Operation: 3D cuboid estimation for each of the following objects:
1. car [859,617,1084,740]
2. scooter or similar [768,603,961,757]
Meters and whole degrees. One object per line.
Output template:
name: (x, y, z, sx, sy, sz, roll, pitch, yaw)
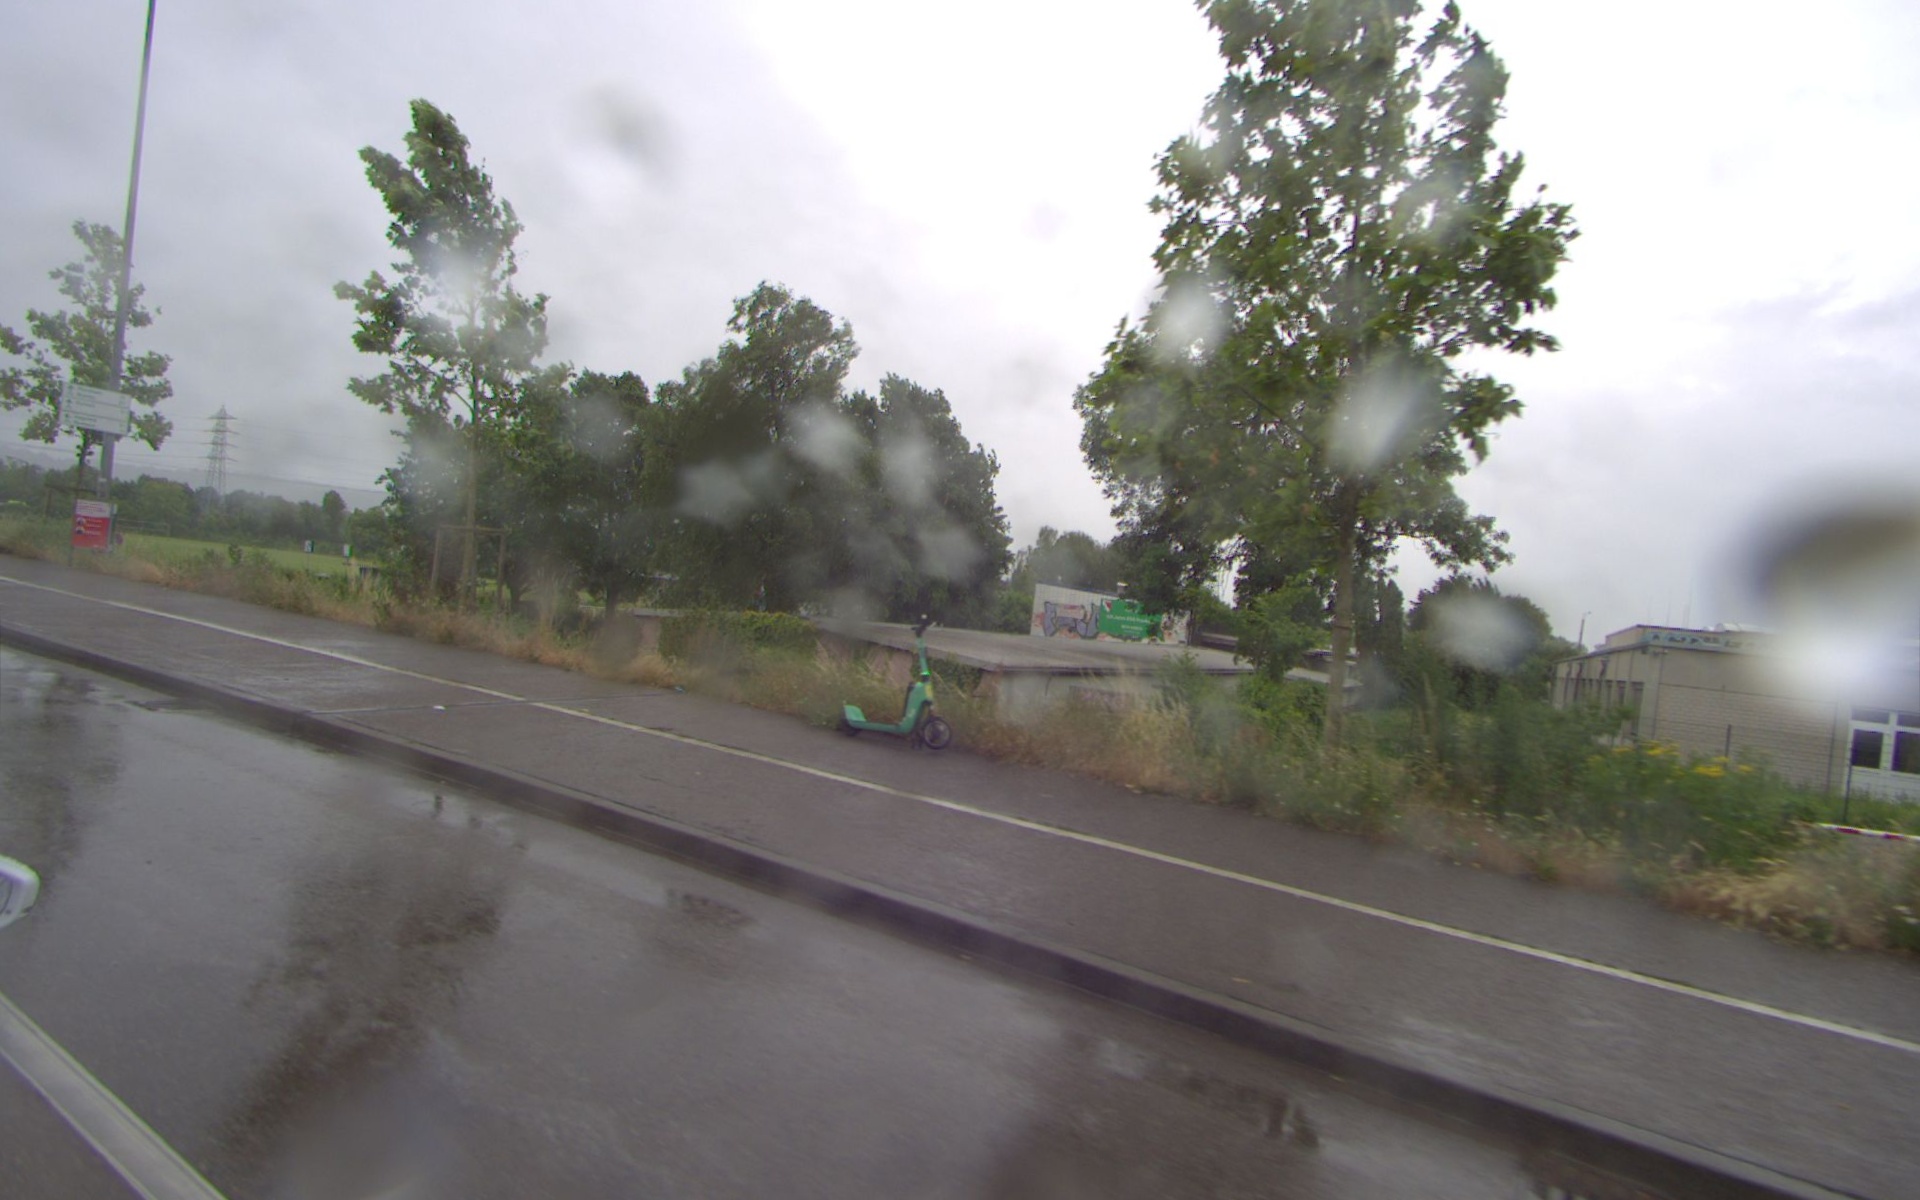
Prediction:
car: (0.265, 1.088, 13.333, 1.323, 1.303, 3.241, 6, -2, 34)
scooter or similar: (-0.947, 0.732, 9.637, 1.881, 1.213, 0.367, 6, -1, 33)
